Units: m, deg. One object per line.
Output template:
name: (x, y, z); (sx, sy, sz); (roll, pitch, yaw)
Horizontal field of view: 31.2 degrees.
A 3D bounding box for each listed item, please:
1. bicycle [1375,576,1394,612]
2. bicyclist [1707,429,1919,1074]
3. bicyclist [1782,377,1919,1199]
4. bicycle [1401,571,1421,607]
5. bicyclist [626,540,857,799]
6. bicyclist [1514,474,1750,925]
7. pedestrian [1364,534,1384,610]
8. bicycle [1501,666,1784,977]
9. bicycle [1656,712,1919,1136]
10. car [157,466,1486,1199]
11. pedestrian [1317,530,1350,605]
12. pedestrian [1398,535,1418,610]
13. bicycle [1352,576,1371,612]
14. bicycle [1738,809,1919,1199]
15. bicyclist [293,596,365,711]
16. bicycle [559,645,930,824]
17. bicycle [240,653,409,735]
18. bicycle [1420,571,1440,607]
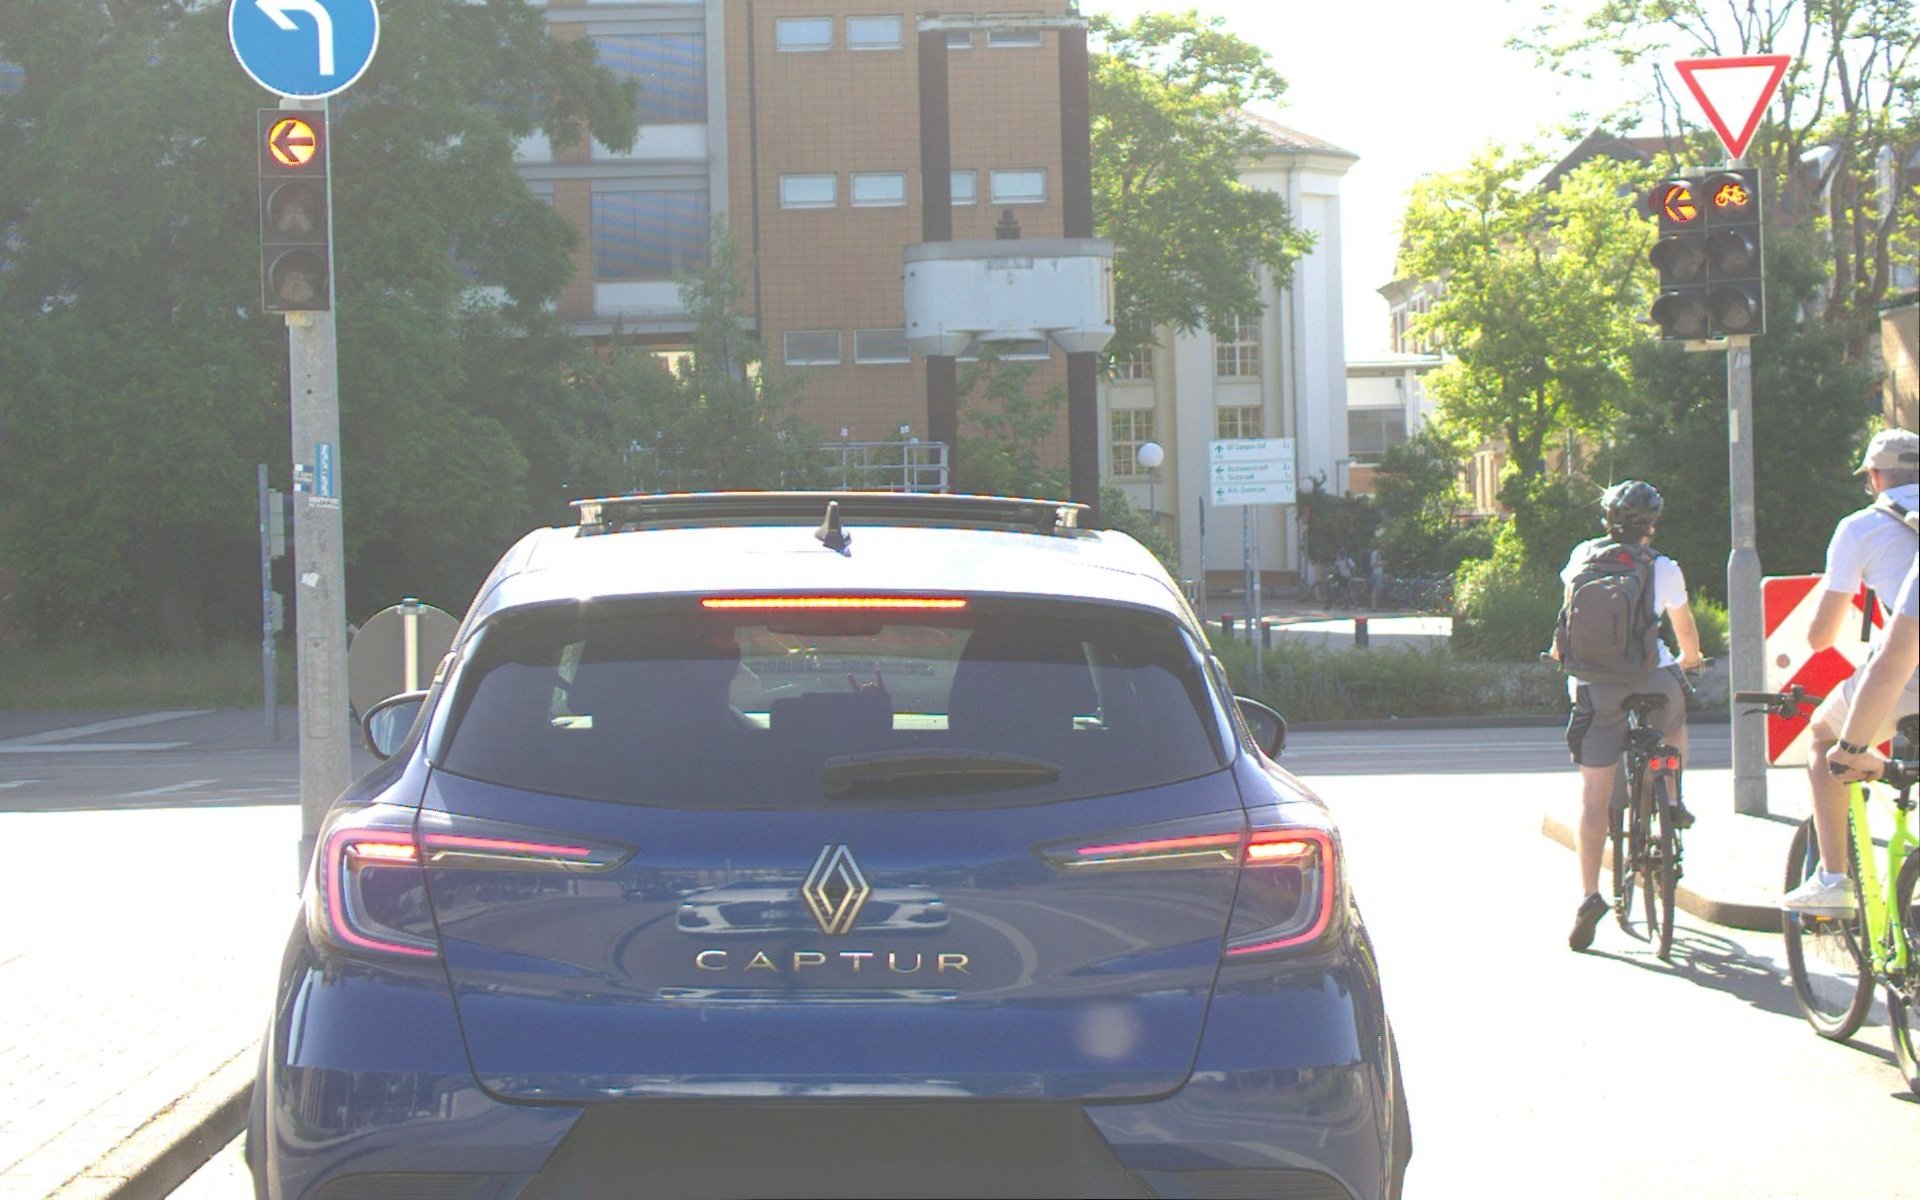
bicycle: (11.607, -0.166, 94.031); (0.405, 0.969, 1.683); (1, 1, 4)
bicyclist: (2.626, 0.406, 9.803); (0.645, 1.733, 1.067); (1, 0, -6)
bicyclist: (2.235, 0.395, 7.238); (0.751, 1.663, 1.016); (1, 0, 1)
bicycle: (12.375, -0.303, 94.397); (0.405, 0.969, 1.683); (1, 1, 4)
bicyclist: (-1.255, 0.395, 19.855); (1.124, 1.417, 0.687); (-3, 0, 11)
bicyclist: (2.511, 0.355, 12.938); (0.726, 1.623, 0.969); (1, 0, 4)
pedestrian: (10.975, -0.749, 91.037); (0.475, 2.007, 0.523); (-1, 1, 6)
bicycle: (2.513, 0.781, 12.894); (0.739, 0.992, 2.173); (1, 1, 3)
bicycle: (2.615, 0.865, 9.814); (0.659, 0.999, 1.970); (1, 1, -6)
car: (-0.265, 0.613, 6.689); (1.803, 1.626, 4.000); (0, 1, -2)
pedestrian: (10.148, -0.887, 93.374); (0.859, 2.007, 0.468); (-1, 1, 6)
pedestrian: (12.032, -0.748, 92.388); (0.475, 2.007, 0.468); (-1, 1, 6)
bicycle: (10.985, -0.175, 94.074); (0.405, 0.969, 1.683); (1, 1, 4)
bicycle: (2.231, 0.961, 7.249); (0.740, 0.893, 1.978); (1, 1, 1)
bicyclist: (-8.034, 0.675, 43.779); (0.737, 1.436, 0.598); (-1, 1, -27)
bicycle: (-1.235, 0.775, 19.849); (1.985, 0.915, 0.687); (-3, 0, 11)
bicycle: (-8.082, 1.189, 43.761); (2.005, 0.961, 0.598); (-2, 1, -27)
bicycle: (12.911, -0.295, 94.410); (0.405, 0.969, 1.683); (1, 1, 4)
